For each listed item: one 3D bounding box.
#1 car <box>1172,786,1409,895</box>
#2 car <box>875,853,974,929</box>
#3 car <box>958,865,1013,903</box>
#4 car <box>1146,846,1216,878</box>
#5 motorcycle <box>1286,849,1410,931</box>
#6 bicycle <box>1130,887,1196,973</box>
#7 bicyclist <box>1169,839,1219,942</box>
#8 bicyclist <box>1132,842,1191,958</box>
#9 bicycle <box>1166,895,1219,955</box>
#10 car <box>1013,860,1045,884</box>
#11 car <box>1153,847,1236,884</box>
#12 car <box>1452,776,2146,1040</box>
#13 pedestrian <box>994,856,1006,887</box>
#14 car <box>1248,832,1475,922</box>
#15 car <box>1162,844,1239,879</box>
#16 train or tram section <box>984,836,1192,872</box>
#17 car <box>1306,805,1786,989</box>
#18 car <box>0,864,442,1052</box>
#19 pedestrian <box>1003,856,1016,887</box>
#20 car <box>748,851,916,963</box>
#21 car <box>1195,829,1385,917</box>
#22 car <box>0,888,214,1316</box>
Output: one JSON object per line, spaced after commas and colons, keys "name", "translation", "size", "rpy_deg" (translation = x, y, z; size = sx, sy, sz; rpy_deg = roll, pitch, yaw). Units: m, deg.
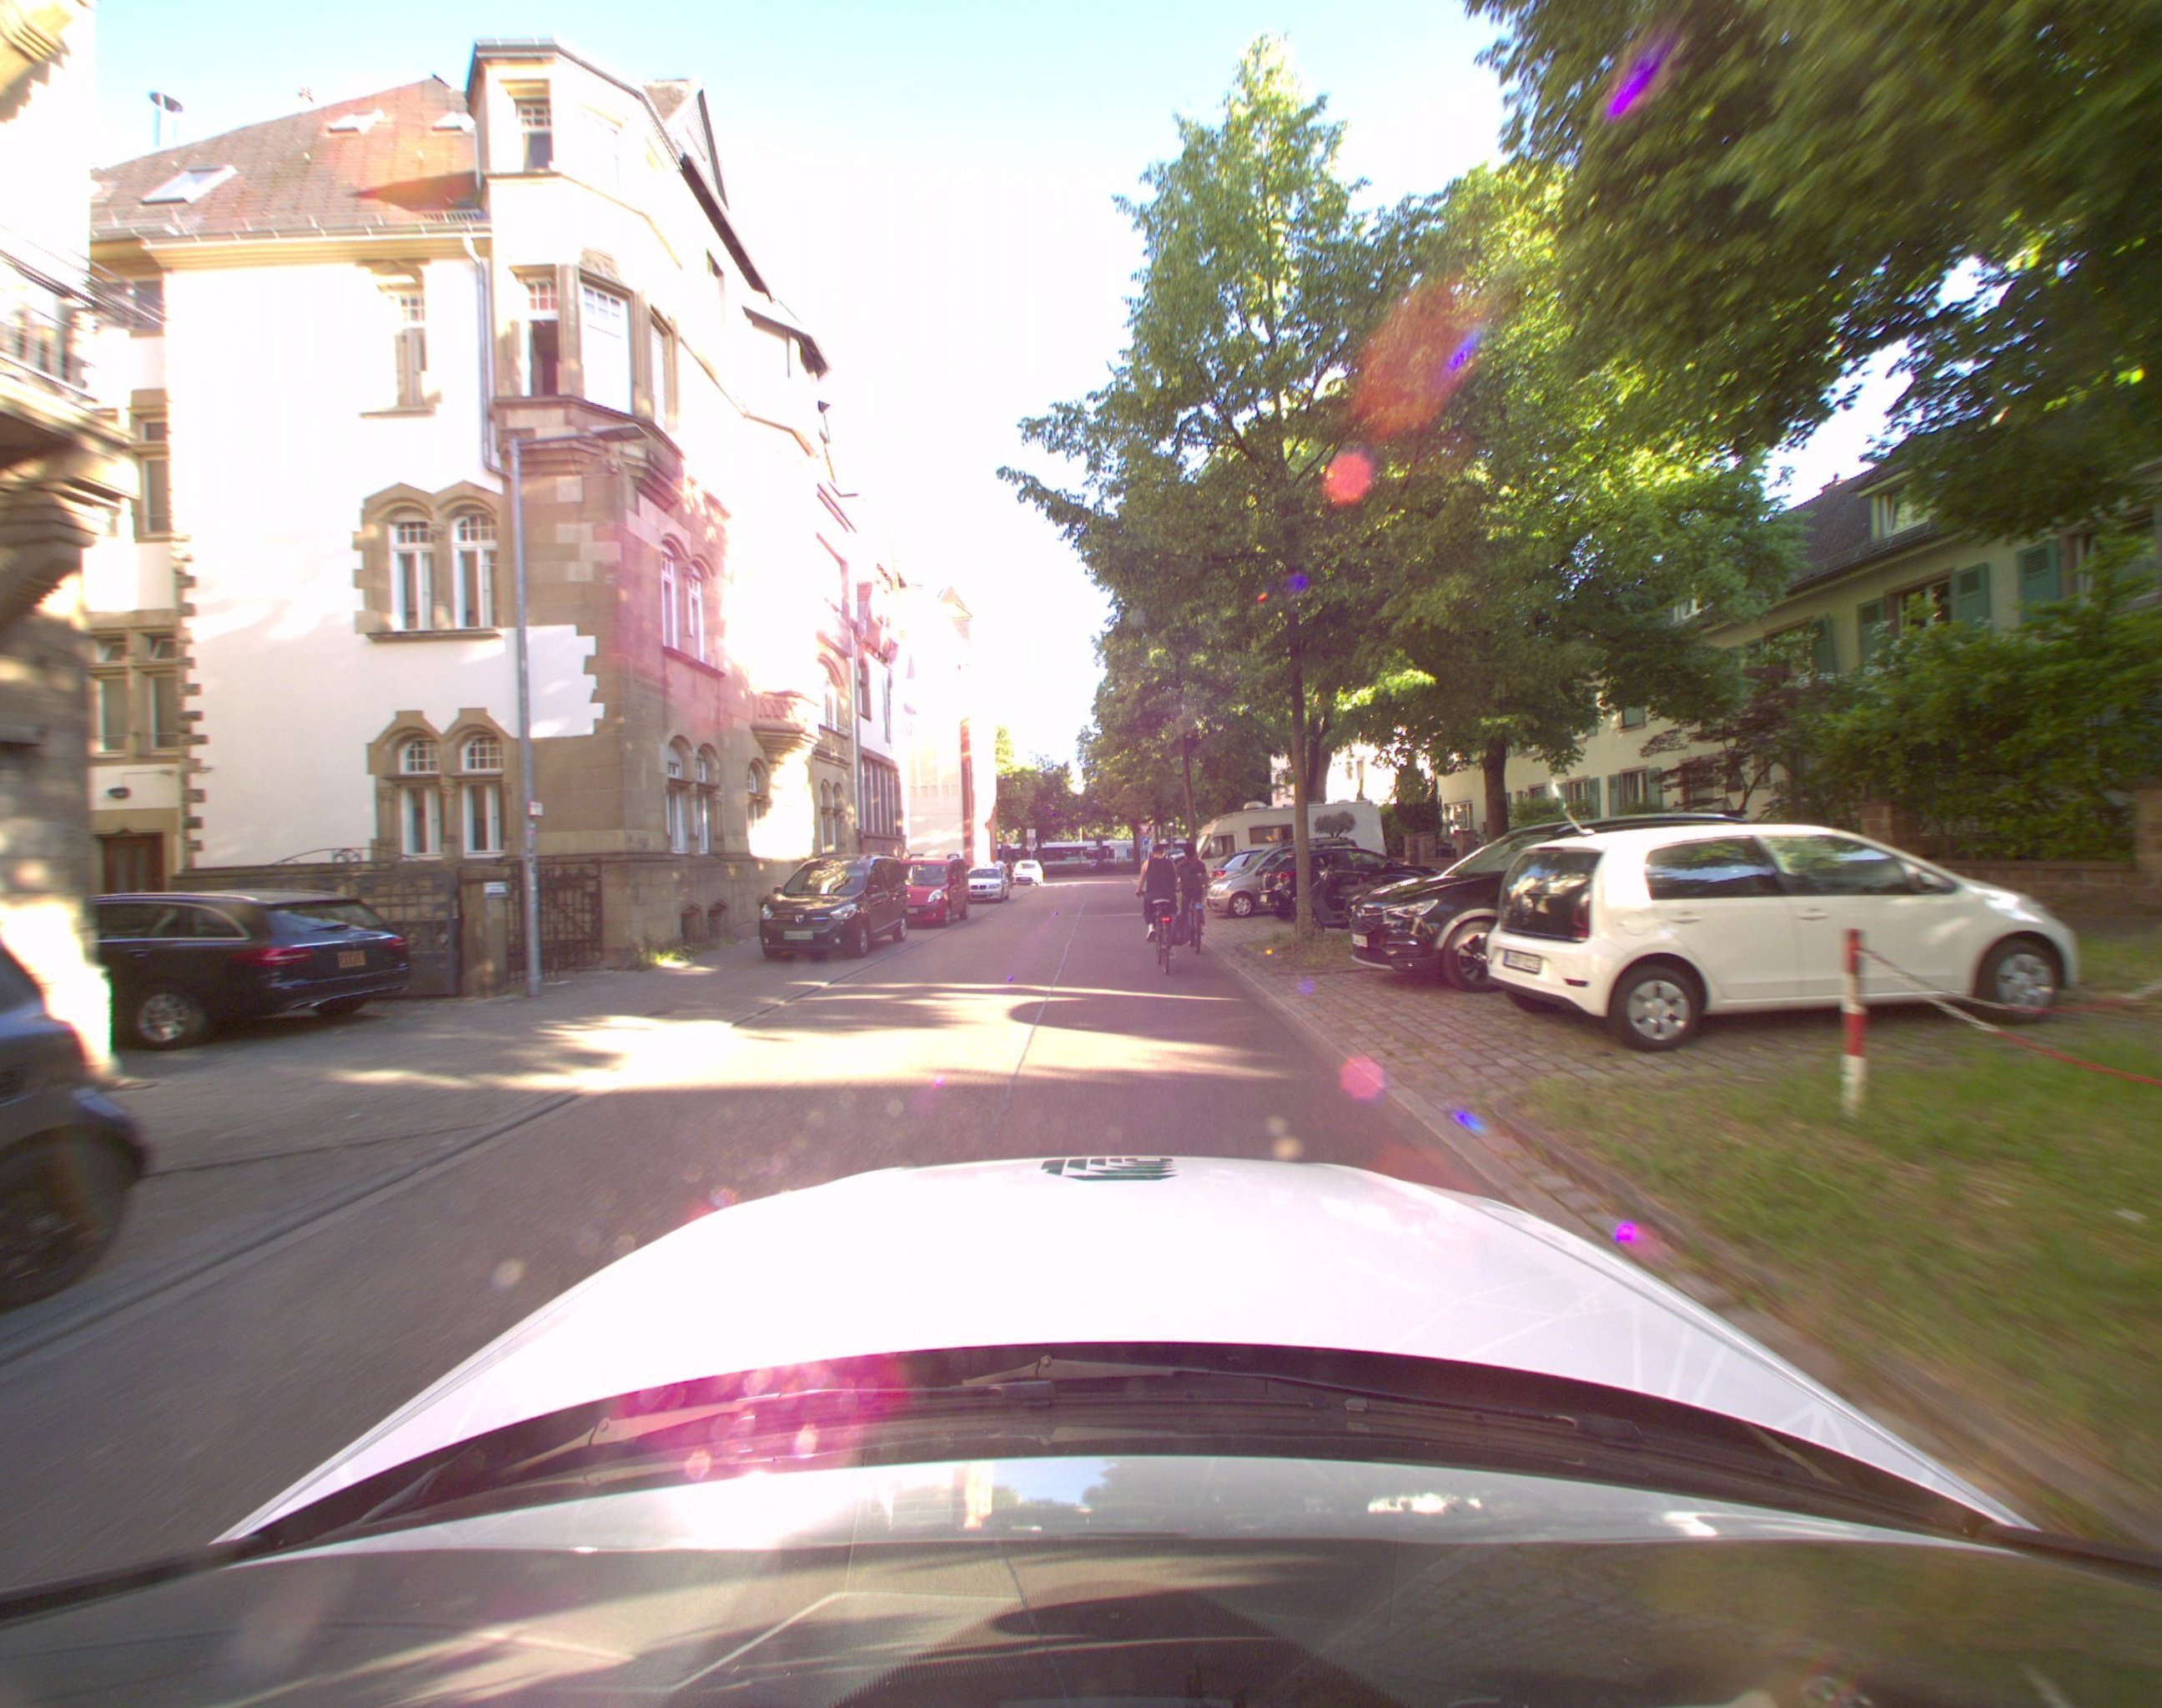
{"name": "car", "translation": [6.855, -0.425, 27.240], "size": [7.127, 2.978, 2.463], "rpy_deg": [-4, -1, -2]}
{"name": "car", "translation": [-4.085, 0.893, 21.941], "size": [1.682, 1.825, 4.275], "rpy_deg": [0, 0, 2]}
{"name": "car", "translation": [-3.758, 1.168, 32.745], "size": [1.577, 1.343, 4.133], "rpy_deg": [0, 0, 2]}
{"name": "car", "translation": [6.031, 0.491, 49.429], "size": [3.975, 1.803, 1.833], "rpy_deg": [-1, -1, -1]}
{"name": "motorcycle", "translation": [3.986, 0.540, 12.200], "size": [1.587, 1.141, 0.677], "rpy_deg": [-3, -1, 34]}
{"name": "bicycle", "translation": [1.112, 1.014, 11.429], "size": [0.735, 1.054, 1.956], "rpy_deg": [0, -1, 1]}
{"name": "bicyclist", "translation": [1.868, 0.587, 13.579], "size": [0.686, 1.626, 0.999], "rpy_deg": [-1, 0, 2]}
{"name": "bicyclist", "translation": [1.110, 0.620, 11.335], "size": [0.727, 1.548, 0.884], "rpy_deg": [0, -1, 0]}
{"name": "bicycle", "translation": [1.829, 1.152, 13.557], "size": [0.631, 0.799, 1.833], "rpy_deg": [-3, 0, 1]}
{"name": "car", "translation": [-3.206, 1.091, 50.777], "size": [1.577, 1.375, 4.133], "rpy_deg": [0, 0, 2]}
{"name": "car", "translation": [5.739, 0.579, 41.542], "size": [3.975, 1.803, 1.833], "rpy_deg": [-1, -1, -1]}
{"name": "car", "translation": [5.183, 0.403, 6.343], "size": [3.757, 1.600, 1.692], "rpy_deg": [-3, -2, 3]}
{"name": "pedestrian", "translation": [-4.716, 1.026, 47.361], "size": [0.607, 1.762, 0.432], "rpy_deg": [-1, -1, 1]}
{"name": "car", "translation": [5.804, 0.484, 17.172], "size": [4.127, 1.600, 1.701], "rpy_deg": [-3, -2, -1]}
{"name": "car", "translation": [6.624, 0.420, 45.285], "size": [3.975, 1.803, 1.833], "rpy_deg": [-1, -1, -1]}
{"name": "train or tram section", "translation": [1.057, -0.027, 93.045], "size": [23.893, 3.708, 4.255], "rpy_deg": [-1, -1, -21]}
{"name": "car", "translation": [4.740, 0.454, 8.803], "size": [4.121, 1.600, 1.704], "rpy_deg": [-3, -2, 3]}
{"name": "car", "translation": [-9.515, 1.010, 8.543], "size": [4.185, 1.668, 1.718], "rpy_deg": [-2, 0, 0]}
{"name": "pedestrian", "translation": [-3.878, 0.966, 44.335], "size": [0.607, 1.679, 0.518], "rpy_deg": [-1, -1, 2]}
{"name": "car", "translation": [-4.425, 0.856, 15.191], "size": [1.634, 1.783, 4.356], "rpy_deg": [0, 0, 2]}
{"name": "car", "translation": [4.964, 0.443, 19.693], "size": [4.071, 1.650, 1.640], "rpy_deg": [-5, -1, -1]}
{"name": "car", "translation": [-4.668, 0.906, 2.241], "size": [1.590, 1.489, 2.736], "rpy_deg": [1, 0, 0]}
